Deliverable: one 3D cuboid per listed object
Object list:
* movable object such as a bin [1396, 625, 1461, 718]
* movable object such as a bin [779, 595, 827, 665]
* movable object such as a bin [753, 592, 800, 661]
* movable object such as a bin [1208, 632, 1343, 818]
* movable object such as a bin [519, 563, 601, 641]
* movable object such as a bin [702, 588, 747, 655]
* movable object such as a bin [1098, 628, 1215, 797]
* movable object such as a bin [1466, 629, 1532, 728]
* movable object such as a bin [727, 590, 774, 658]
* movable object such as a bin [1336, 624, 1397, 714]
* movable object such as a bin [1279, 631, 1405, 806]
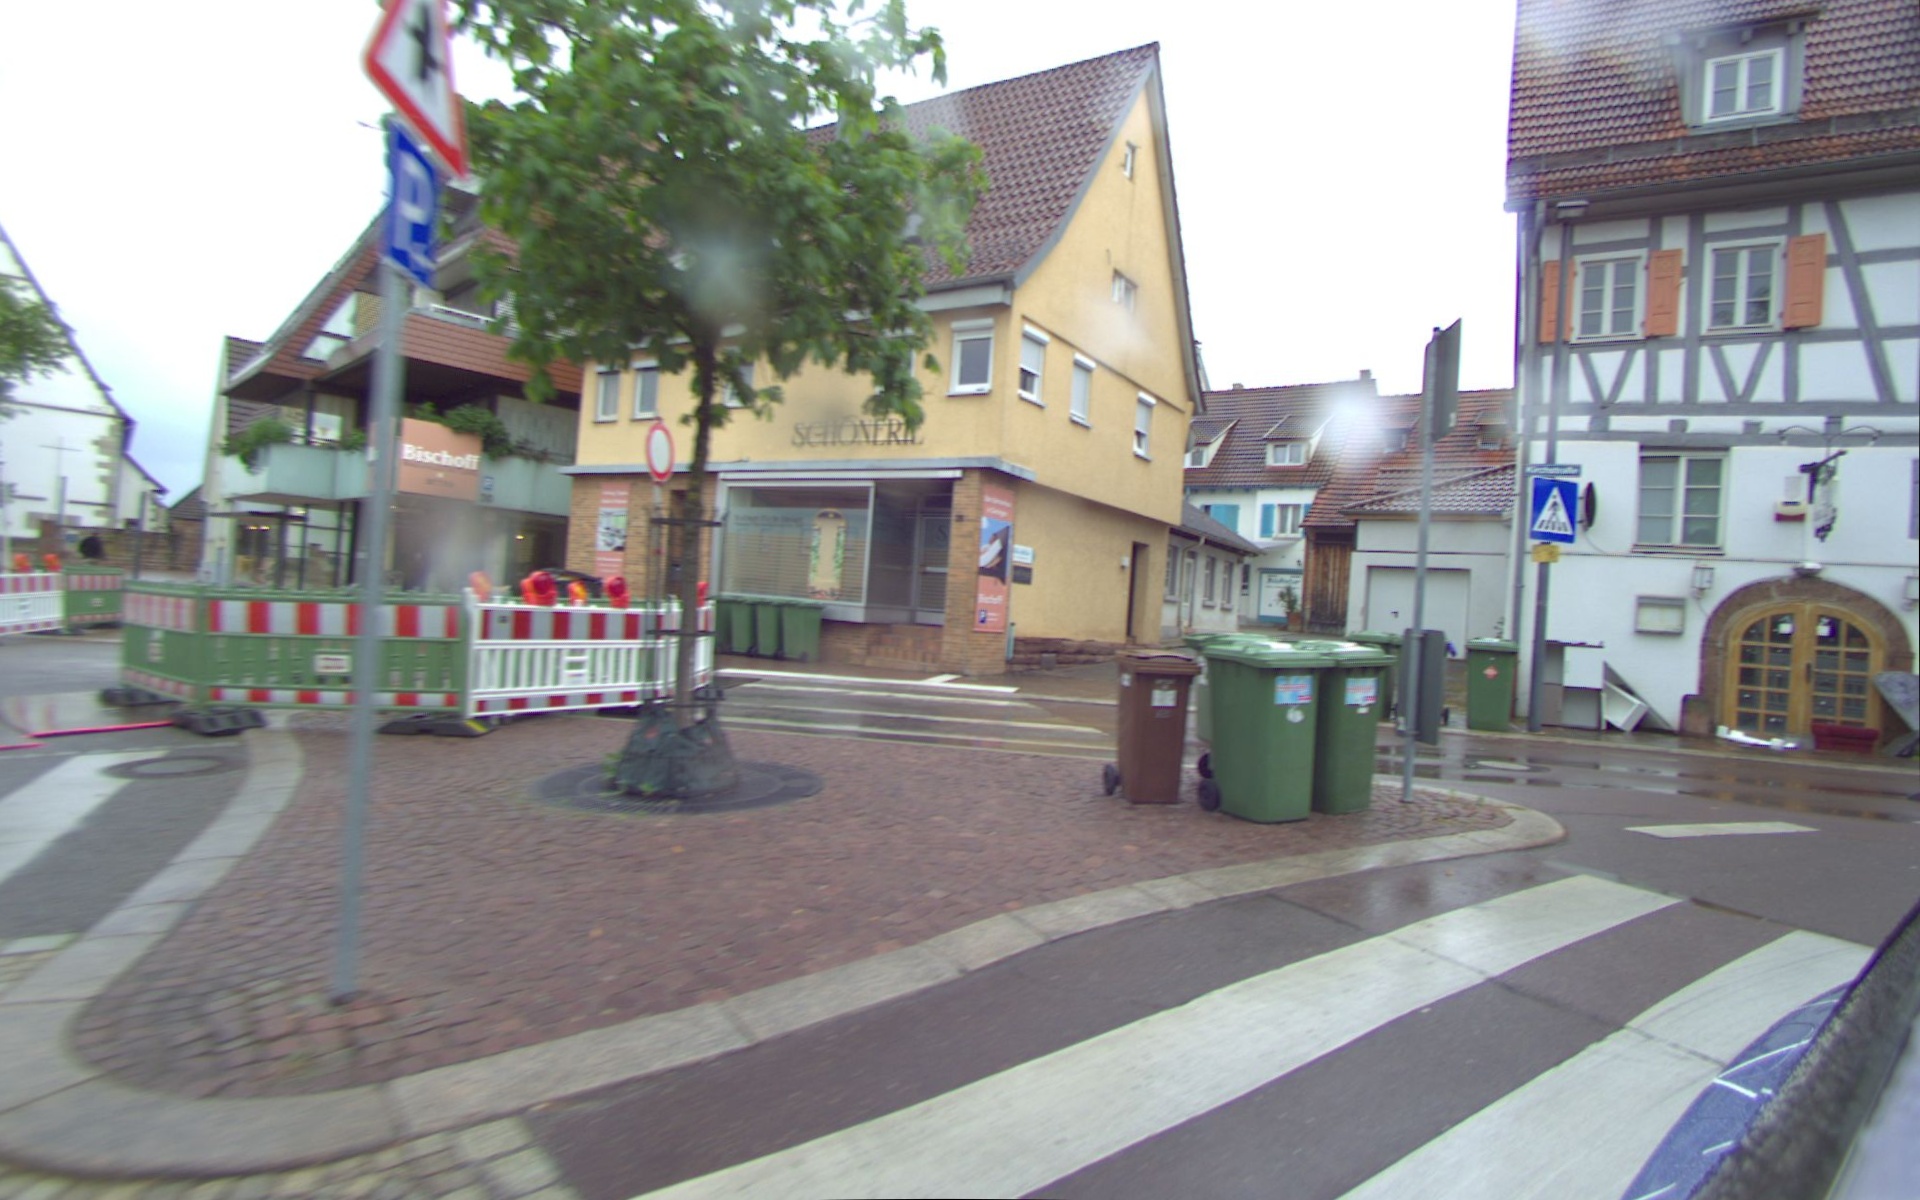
[{"bbox_3d":[5.746,0.861,12.413,0.538,1.079,0.608,2,0,43],"label":"movable object such as a bin"},{"bbox_3d":[-2.697,0.508,17.403,0.575,1.146,0.514,4,2,30],"label":"movable object such as a bin"},{"bbox_3d":[-3.212,0.452,17.715,0.575,1.142,0.512,4,3,30],"label":"movable object such as a bin"},{"bbox_3d":[1.931,0.733,6.221,0.531,1.050,0.573,2,-1,-30],"label":"movable object such as a bin"},{"bbox_3d":[-8.355,0.014,21.160,1.234,1.531,1.056,3,2,34],"label":"movable object such as a bin"},{"bbox_3d":[-4.271,0.377,18.349,0.575,1.142,0.512,4,2,30],"label":"movable object such as a bin"},{"bbox_3d":[1.266,0.706,6.577,0.501,1.017,0.569,2,0,-21],"label":"movable object such as a bin"},{"bbox_3d":[6.405,0.913,12.052,0.533,1.079,0.676,4,1,20],"label":"movable object such as a bin"},{"bbox_3d":[-3.731,0.417,18.025,0.575,1.147,0.512,5,3,30],"label":"movable object such as a bin"},{"bbox_3d":[5.207,0.862,12.965,0.582,1.079,0.672,1,0,34],"label":"movable object such as a bin"},{"bbox_3d":[2.457,0.732,6.517,0.534,1.046,0.535,1,-1,-30],"label":"movable object such as a bin"}]
